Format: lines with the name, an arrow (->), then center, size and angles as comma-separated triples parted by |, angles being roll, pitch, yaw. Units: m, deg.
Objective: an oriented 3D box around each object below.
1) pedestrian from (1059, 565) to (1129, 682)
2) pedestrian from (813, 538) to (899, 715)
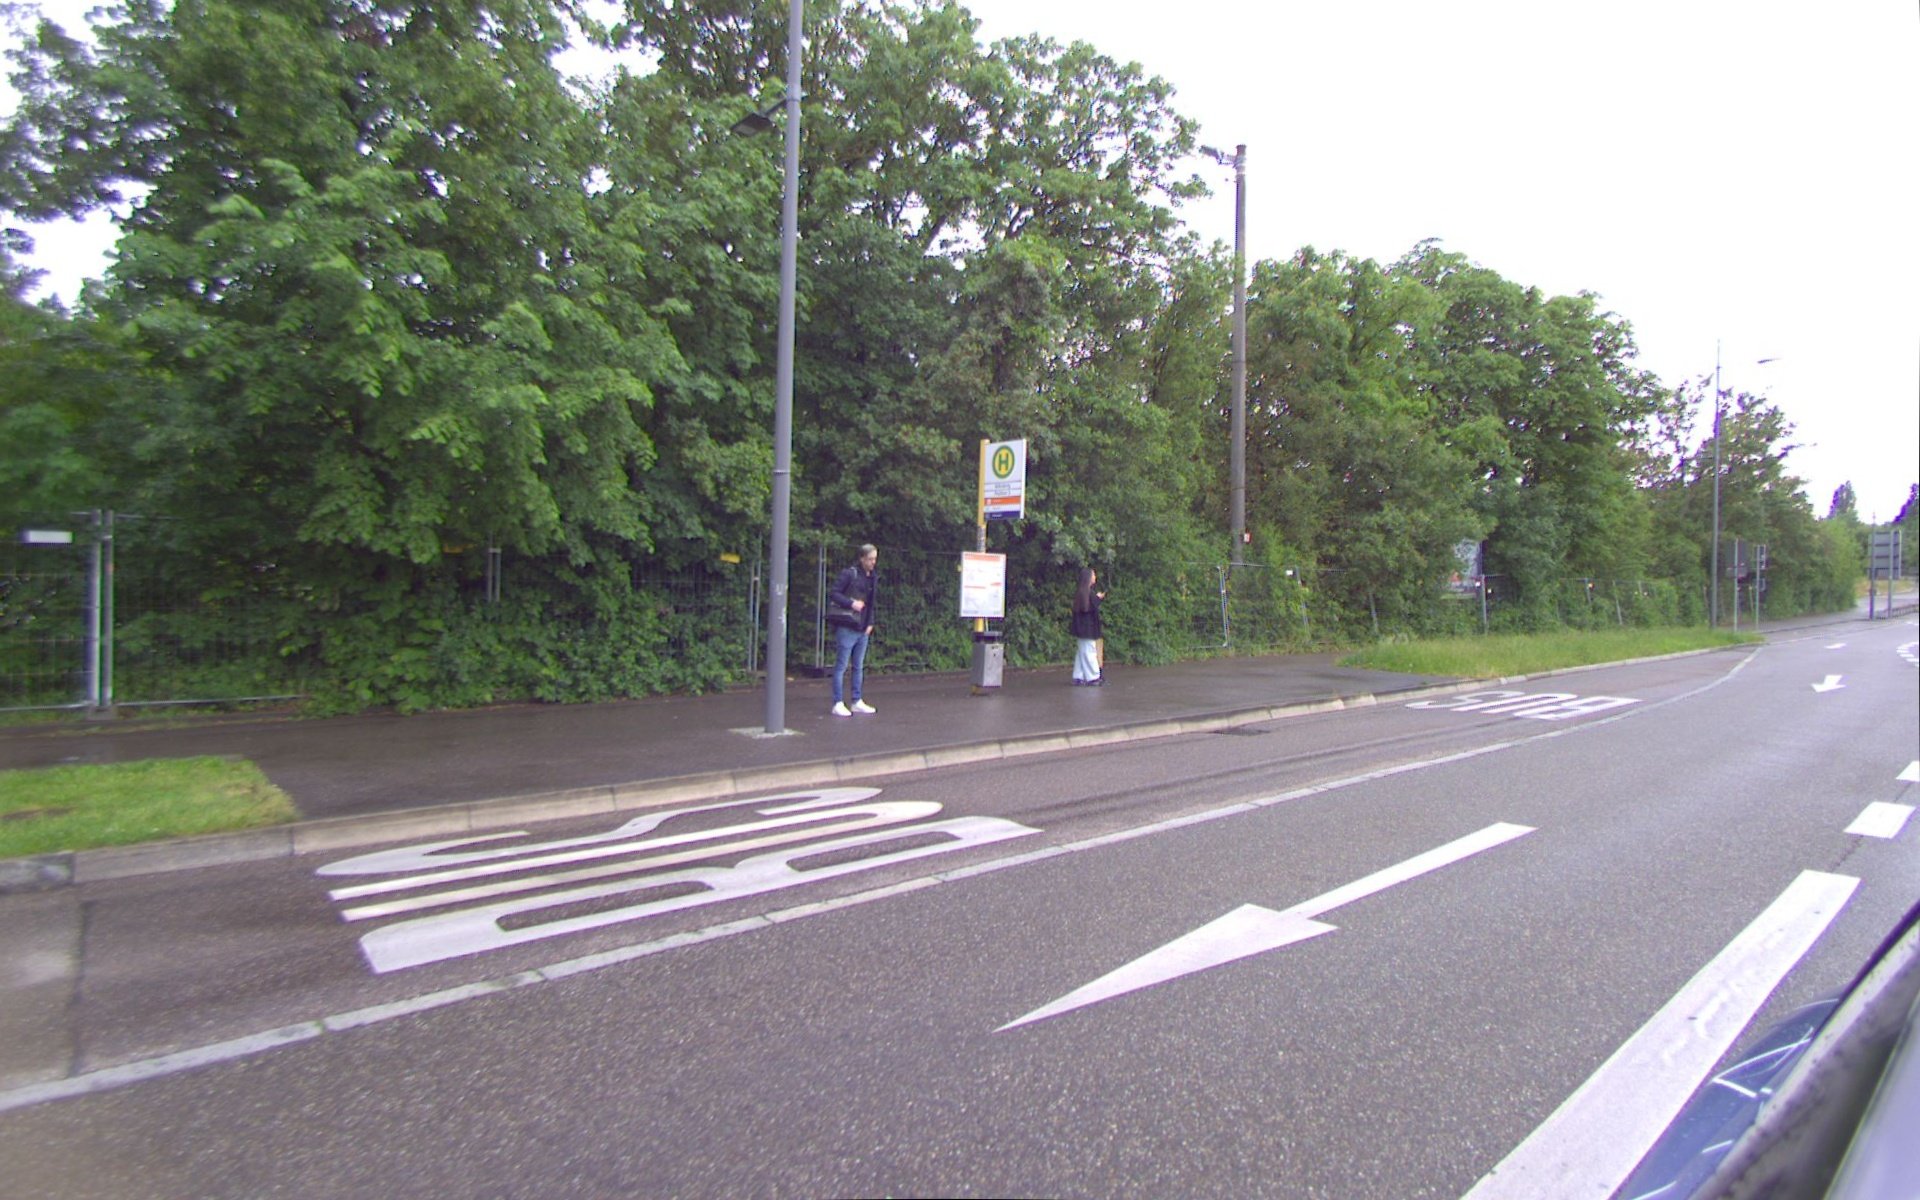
pedestrian -> 1.988, 0.325, 15.000 | 0.675, 1.678, 0.780 | 2, 1, 43
pedestrian -> -1.183, 0.276, 11.484 | 0.640, 1.924, 0.707 | 2, 1, 43
